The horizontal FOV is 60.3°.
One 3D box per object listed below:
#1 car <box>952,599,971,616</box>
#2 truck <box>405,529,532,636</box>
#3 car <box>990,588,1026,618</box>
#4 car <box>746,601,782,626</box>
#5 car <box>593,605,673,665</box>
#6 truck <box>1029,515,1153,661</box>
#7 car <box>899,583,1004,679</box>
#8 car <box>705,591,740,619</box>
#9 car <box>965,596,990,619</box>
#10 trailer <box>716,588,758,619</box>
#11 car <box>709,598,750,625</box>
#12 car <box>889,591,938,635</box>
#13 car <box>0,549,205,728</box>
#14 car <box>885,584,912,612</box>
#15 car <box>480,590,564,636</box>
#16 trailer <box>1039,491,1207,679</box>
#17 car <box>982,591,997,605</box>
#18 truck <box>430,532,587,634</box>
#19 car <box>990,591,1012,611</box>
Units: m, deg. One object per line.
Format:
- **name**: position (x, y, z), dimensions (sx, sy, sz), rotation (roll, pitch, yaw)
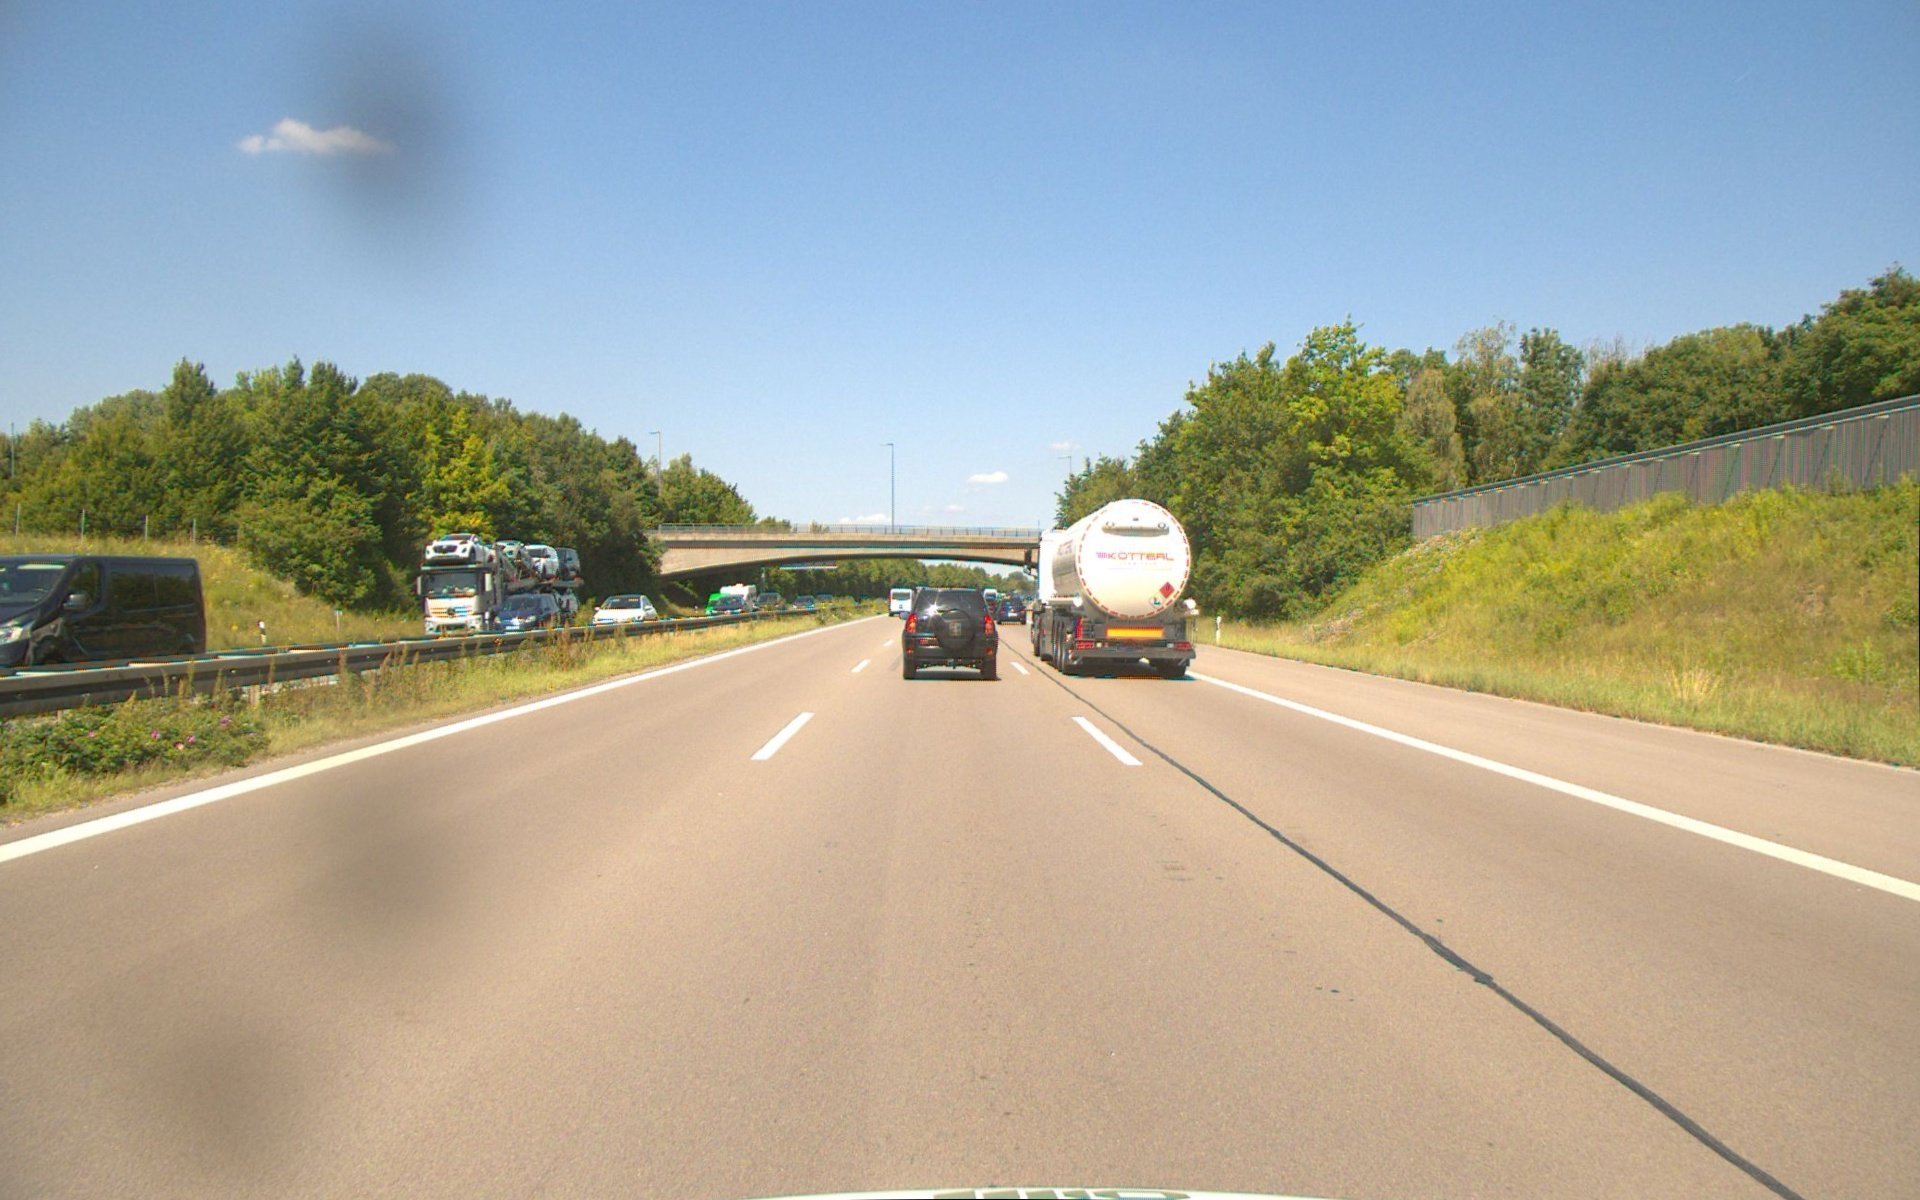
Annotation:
- **car**: position (0.171, 0.752, 177.756), dimensions (1.953, 1.780, 4.204), rotation (0, 0, 0)
- **truck**: position (-20.028, -0.689, 67.909), dimensions (3.175, 4.120, 7.392), rotation (-1, 0, -2)
- **car**: position (2.836, 0.216, 98.030), dimensions (1.953, 1.713, 3.999), rotation (0, -1, -1)
- **car**: position (-12.775, 0.898, 107.954), dimensions (1.812, 1.601, 4.421), rotation (0, -1, 0)
- **car**: position (-11.694, 1.251, 59.478), dimensions (1.953, 2.049, 4.913), rotation (0, -1, -1)
- **truck**: position (3.234, -0.288, 42.467), dimensions (2.584, 3.434, 6.486), rotation (1, 0, 0)
- **car**: position (-0.196, 0.547, 31.299), dimensions (1.868, 1.694, 3.999), rotation (0, 0, -1)
- **car**: position (-15.985, 0.354, 111.381), dimensions (1.777, 1.840, 4.380), rotation (0, 0, -1)
- **car**: position (1.271, 0.572, 119.510), dimensions (1.804, 1.640, 4.000), rotation (0, -1, 1)
- **trailer**: position (-19.912, 0.274, 148.192), dimensions (2.676, 2.734, 8.629), rotation (0, 0, 0)
- **car**: position (-12.620, 0.630, 90.756), dimensions (1.681, 1.414, 4.000), rotation (0, 0, 0)
- **car**: position (-1.981, 0.541, 69.674), dimensions (1.954, 1.736, 4.333), rotation (-1, 0, -3)
- **car**: position (-11.682, 0.429, 20.574), dimensions (2.047, 1.979, 5.687), rotation (0, 0, -1)
- **car**: position (-4.598, -0.117, 124.407), dimensions (1.953, 2.049, 4.947), rotation (-1, 0, -2)
- **car**: position (-16.319, 0.454, 61.847), dimensions (1.953, 1.642, 4.580), rotation (-1, 0, -1)
- **trailer**: position (3.307, -0.281, 36.379), dimensions (2.594, 3.449, 11.151), rotation (1, 0, 0)
- **car**: position (3.922, -0.283, 219.768), dimensions (1.775, 1.777, 3.999), rotation (0, 0, -2)
- **truck**: position (-20.333, -0.734, 75.953), dimensions (3.147, 4.120, 16.667), rotation (-1, 0, -2)
- **car**: position (3.814, 0.123, 153.730), dimensions (1.952, 1.811, 4.261), rotation (0, 0, 0)
